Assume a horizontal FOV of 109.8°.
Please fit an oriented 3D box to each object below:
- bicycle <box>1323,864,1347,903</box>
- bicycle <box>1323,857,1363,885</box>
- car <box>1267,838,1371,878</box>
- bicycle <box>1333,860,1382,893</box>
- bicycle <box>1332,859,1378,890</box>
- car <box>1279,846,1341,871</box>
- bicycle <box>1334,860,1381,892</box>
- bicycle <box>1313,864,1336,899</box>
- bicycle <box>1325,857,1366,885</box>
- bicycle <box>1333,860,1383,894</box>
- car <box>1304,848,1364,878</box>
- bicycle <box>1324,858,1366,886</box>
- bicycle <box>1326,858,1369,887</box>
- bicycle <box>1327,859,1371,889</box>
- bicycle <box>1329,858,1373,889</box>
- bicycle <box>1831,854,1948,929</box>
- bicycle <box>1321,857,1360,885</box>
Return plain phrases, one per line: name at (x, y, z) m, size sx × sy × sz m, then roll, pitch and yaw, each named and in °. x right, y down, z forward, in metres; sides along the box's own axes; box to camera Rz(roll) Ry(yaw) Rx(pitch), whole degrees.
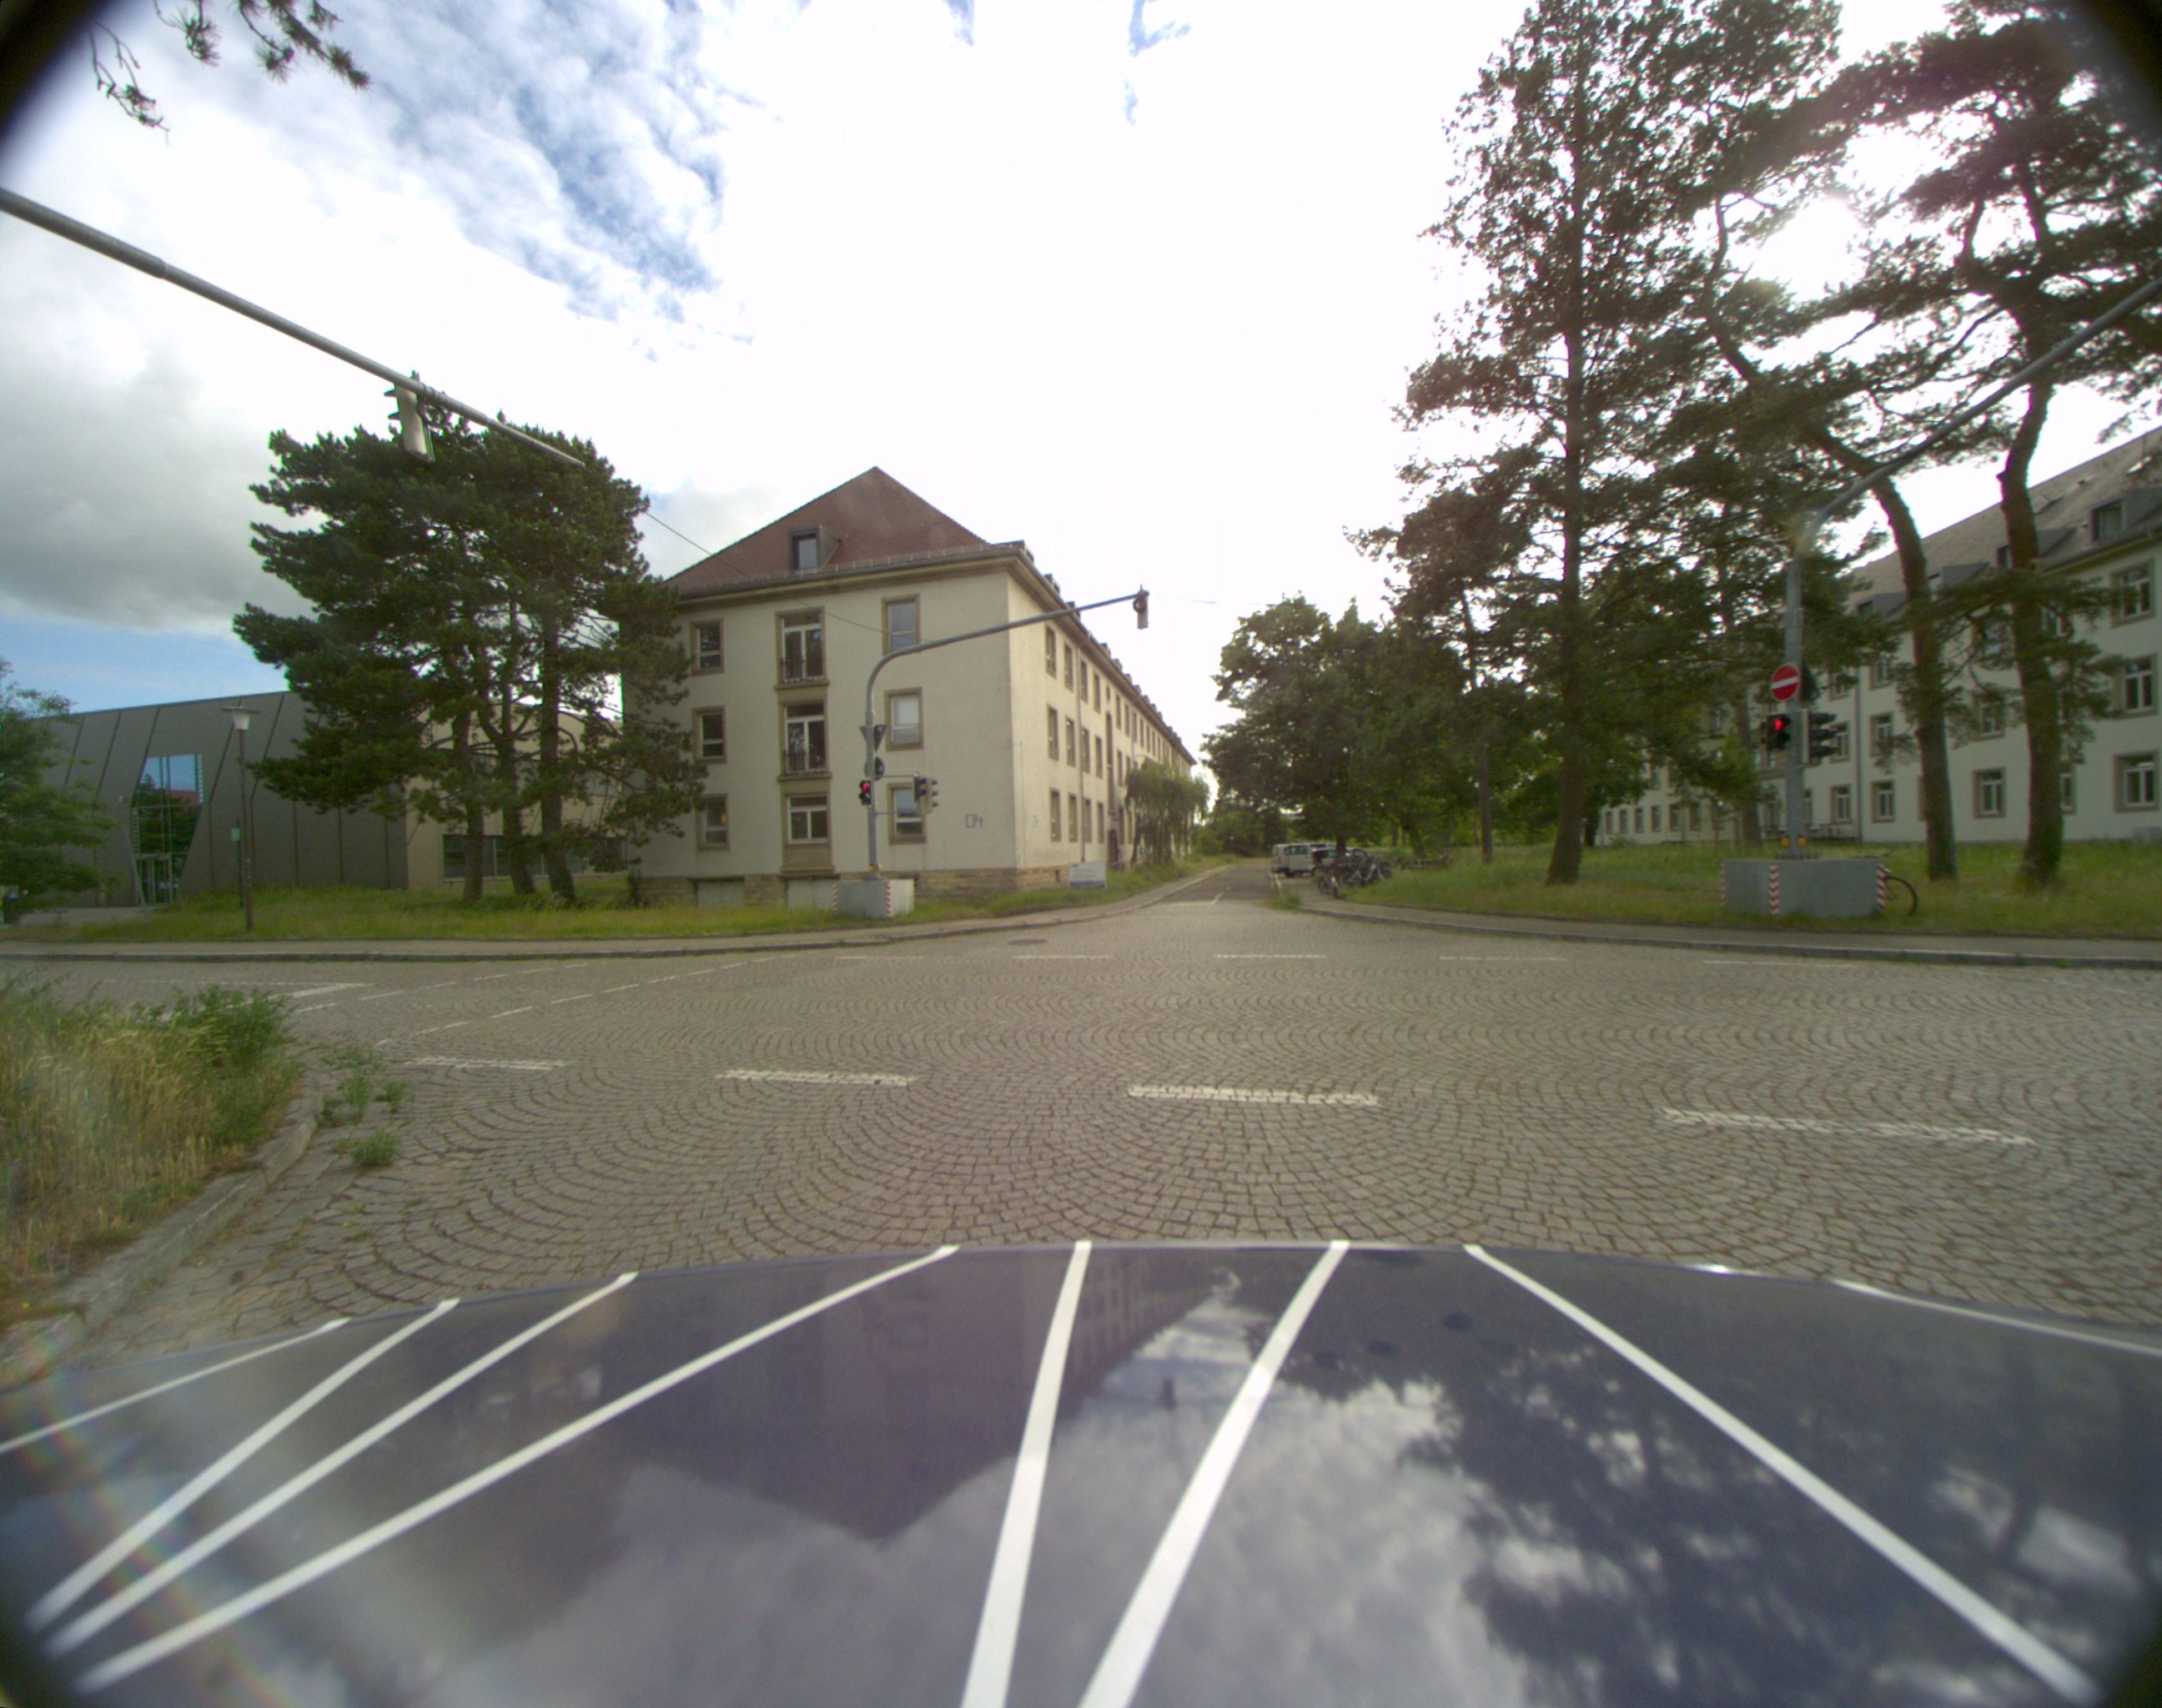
bicycle at (7.652, 0.883, 22.930) m, size 0.497 × 1.068 × 1.418 m, roll -4°, pitch 0°, yaw 13°
bicycle at (10.899, 0.718, 31.651) m, size 1.455 × 1.032 × 0.498 m, roll -4°, pitch 1°, yaw 9°
car at (13.487, 0.223, 43.244) m, size 5.167 × 1.905 × 2.036 m, roll -4°, pitch 0°, yaw 0°
bicycle at (9.582, 0.784, 26.365) m, size 1.455 × 1.032 × 0.498 m, roll -4°, pitch 1°, yaw 9°
bicycle at (10.062, 0.759, 27.917) m, size 1.455 × 1.032 × 0.498 m, roll -4°, pitch 1°, yaw 9°
car at (17.116, 0.309, 56.922) m, size 4.088 × 1.710 × 1.860 m, roll -2°, pitch 2°, yaw 6°
bicycle at (9.952, 0.773, 27.341) m, size 1.455 × 1.032 × 0.498 m, roll -4°, pitch 1°, yaw 9°
bicycle at (7.851, 0.865, 24.534) m, size 0.497 × 1.032 × 1.418 m, roll -4°, pitch 0°, yaw 13°
bicycle at (10.822, 0.711, 31.132) m, size 1.455 × 1.032 × 0.498 m, roll -4°, pitch 1°, yaw 9°
bicycle at (9.333, 0.782, 25.606) m, size 1.455 × 1.032 × 0.498 m, roll -4°, pitch 1°, yaw 6°
car at (13.255, 0.458, 39.865) m, size 2.769 × 1.407 × 1.593 m, roll -4°, pitch 0°, yaw 13°
bicycle at (10.639, 0.718, 30.633) m, size 1.455 × 1.032 × 0.498 m, roll -4°, pitch 1°, yaw 9°
bicycle at (10.563, 0.729, 30.147) m, size 1.455 × 1.032 × 0.498 m, roll -4°, pitch 1°, yaw 9°
bicycle at (10.238, 0.759, 29.068) m, size 1.455 × 1.032 × 0.498 m, roll -4°, pitch 1°, yaw 9°
bicycle at (10.157, 0.736, 28.605) m, size 1.455 × 1.032 × 0.498 m, roll -4°, pitch 1°, yaw 9°
bicycle at (12.792, 0.570, 12.070) m, size 0.497 × 1.068 × 1.417 m, roll -4°, pitch 0°, yaw 11°
bicycle at (10.958, 0.718, 32.126) m, size 1.455 × 1.032 × 0.498 m, roll -4°, pitch 1°, yaw 9°
